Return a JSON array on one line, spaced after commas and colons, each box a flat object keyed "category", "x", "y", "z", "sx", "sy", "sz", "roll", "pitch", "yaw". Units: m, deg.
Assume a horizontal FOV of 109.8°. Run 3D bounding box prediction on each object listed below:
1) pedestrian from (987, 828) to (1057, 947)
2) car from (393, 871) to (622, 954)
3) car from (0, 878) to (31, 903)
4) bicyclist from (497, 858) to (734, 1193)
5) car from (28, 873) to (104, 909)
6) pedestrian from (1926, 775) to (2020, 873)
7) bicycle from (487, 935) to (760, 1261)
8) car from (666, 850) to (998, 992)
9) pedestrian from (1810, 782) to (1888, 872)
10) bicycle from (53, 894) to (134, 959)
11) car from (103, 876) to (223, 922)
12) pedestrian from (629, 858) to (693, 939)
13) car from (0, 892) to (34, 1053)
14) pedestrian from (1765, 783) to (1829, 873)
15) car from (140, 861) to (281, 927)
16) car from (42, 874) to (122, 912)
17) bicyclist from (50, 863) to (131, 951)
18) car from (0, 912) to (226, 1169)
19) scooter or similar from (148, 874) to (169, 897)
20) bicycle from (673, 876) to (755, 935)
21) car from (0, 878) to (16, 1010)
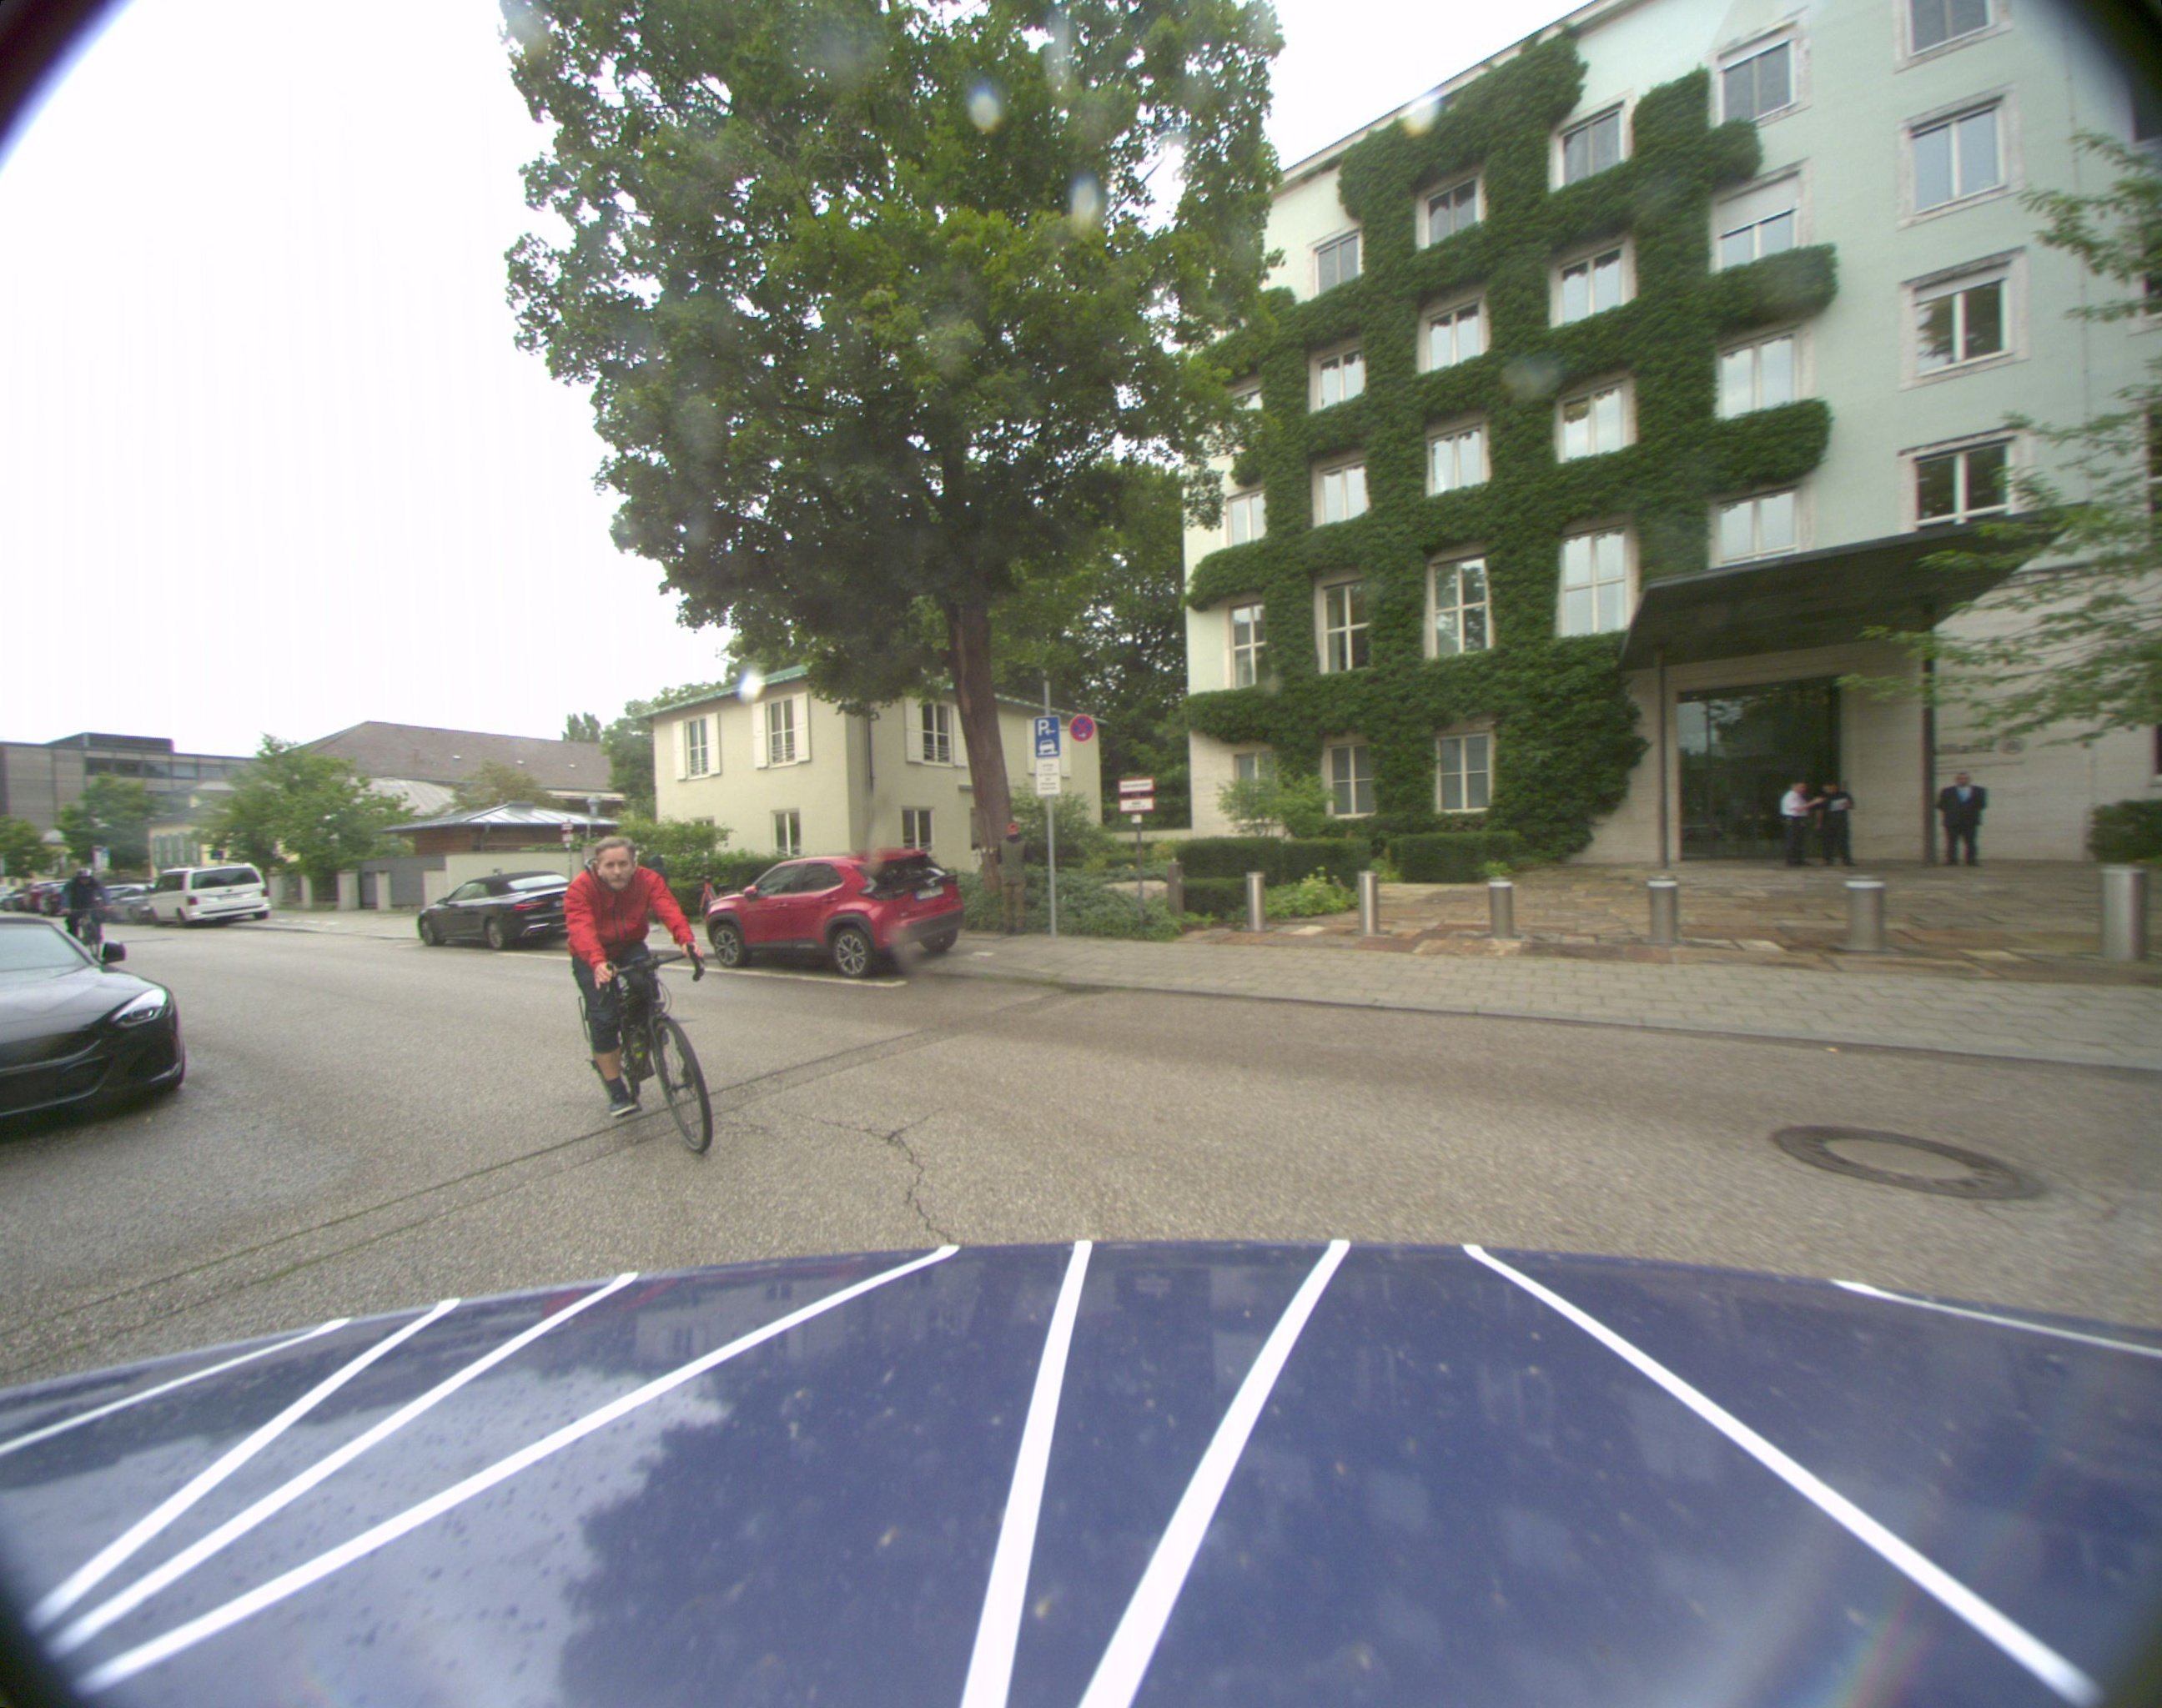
[{"category": "pedestrian", "x": -0.949, "y": 0.516, "z": 12.273, "sx": 0.795, "sy": 1.842, "sz": 0.716, "roll": 0, "pitch": 3, "yaw": 32}, {"category": "car", "x": -11.960, "y": 1.134, "z": 15.770, "sx": 4.911, "sy": 1.394, "sz": 1.816, "roll": -1, "pitch": 2, "yaw": 28}, {"category": "car", "x": -70.137, "y": 2.364, "z": 49.344, "sx": 4.449, "sy": 1.484, "sz": 1.733, "roll": -1, "pitch": 3, "yaw": 30}, {"category": "bicyclist", "x": -2.464, "y": 0.780, "z": 4.018, "sx": 0.978, "sy": 1.475, "sz": 0.758, "roll": 0, "pitch": 4, "yaw": 43}, {"category": "car", "x": -54.613, "y": 1.946, "z": 40.874, "sx": 4.795, "sy": 1.682, "sz": 1.911, "roll": -1, "pitch": 3, "yaw": 31}, {"category": "pedestrian", "x": 16.570, "y": -0.548, "z": 14.150, "sx": 0.898, "sy": 1.743, "sz": 0.754, "roll": 0, "pitch": 2, "yaw": 29}, {"category": "bicycle", "x": -2.531, "y": 1.115, "z": 4.077, "sx": 2.005, "sy": 1.135, "sz": 0.675, "roll": 0, "pitch": 3, "yaw": 43}, {"category": "car", "x": -3.612, "y": 0.821, "z": 10.818, "sx": 4.515, "sy": 1.581, "sz": 1.896, "roll": -1, "pitch": 3, "yaw": 31}, {"category": "pedestrian", "x": 15.284, "y": -0.527, "z": 15.151, "sx": 0.898, "sy": 1.743, "sz": 0.754, "roll": 0, "pitch": 2, "yaw": 29}, {"category": "bicycle", "x": -19.937, "y": 1.438, "z": 15.329, "sx": 1.796, "sy": 1.199, "sz": 0.722, "roll": -2, "pitch": 2, "yaw": 31}, {"category": "car", "x": -35.105, "y": 1.685, "z": 29.039, "sx": 4.684, "sy": 1.535, "sz": 1.896, "roll": -1, "pitch": 1, "yaw": 27}, {"category": "pedestrian", "x": -8.430, "y": 0.880, "z": 15.264, "sx": 0.750, "sy": 1.540, "sz": 0.717, "roll": -1, "pitch": 3, "yaw": 28}, {"category": "car", "x": -12.431, "y": 1.265, "z": 7.705, "sx": 3.701, "sy": 1.538, "sz": 1.778, "roll": -1, "pitch": 6, "yaw": 33}, {"category": "pedestrian", "x": 14.454, "y": -0.518, "z": 15.362, "sx": 0.750, "sy": 1.743, "sz": 0.902, "roll": -1, "pitch": 1, "yaw": 30}, {"category": "car", "x": -29.931, "y": 1.334, "z": 26.093, "sx": 5.138, "sy": 1.979, "sz": 1.976, "roll": -1, "pitch": 3, "yaw": 28}, {"category": "car", "x": -48.822, "y": 1.858, "z": 37.120, "sx": 4.729, "sy": 1.599, "sz": 1.854, "roll": -1, "pitch": 3, "yaw": 32}, {"category": "bicyclist", "x": -19.926, "y": 1.054, "z": 15.290, "sx": 1.032, "sy": 1.657, "sz": 0.782, "roll": -2, "pitch": 2, "yaw": 31}, {"category": "car", "x": -8.168, "y": 1.168, "z": 5.354, "sx": 4.583, "sy": 1.311, "sz": 2.011, "roll": -1, "pitch": -1, "yaw": 31}, {"category": "scooter or similar", "x": -55.869, "y": 1.889, "z": 46.029, "sx": 0.377, "sy": 1.335, "sz": 1.349, "roll": -3, "pitch": 1, "yaw": -33}, {"category": "bicycle", "x": -7.658, "y": 1.041, "z": 15.831, "sx": 2.041, "sy": 1.124, "sz": 0.653, "roll": -1, "pitch": 1, "yaw": 38}, {"category": "car", "x": -16.341, "y": 1.261, "z": 10.149, "sx": 4.522, "sy": 1.698, "sz": 2.003, "roll": -1, "pitch": 3, "yaw": 31}]
